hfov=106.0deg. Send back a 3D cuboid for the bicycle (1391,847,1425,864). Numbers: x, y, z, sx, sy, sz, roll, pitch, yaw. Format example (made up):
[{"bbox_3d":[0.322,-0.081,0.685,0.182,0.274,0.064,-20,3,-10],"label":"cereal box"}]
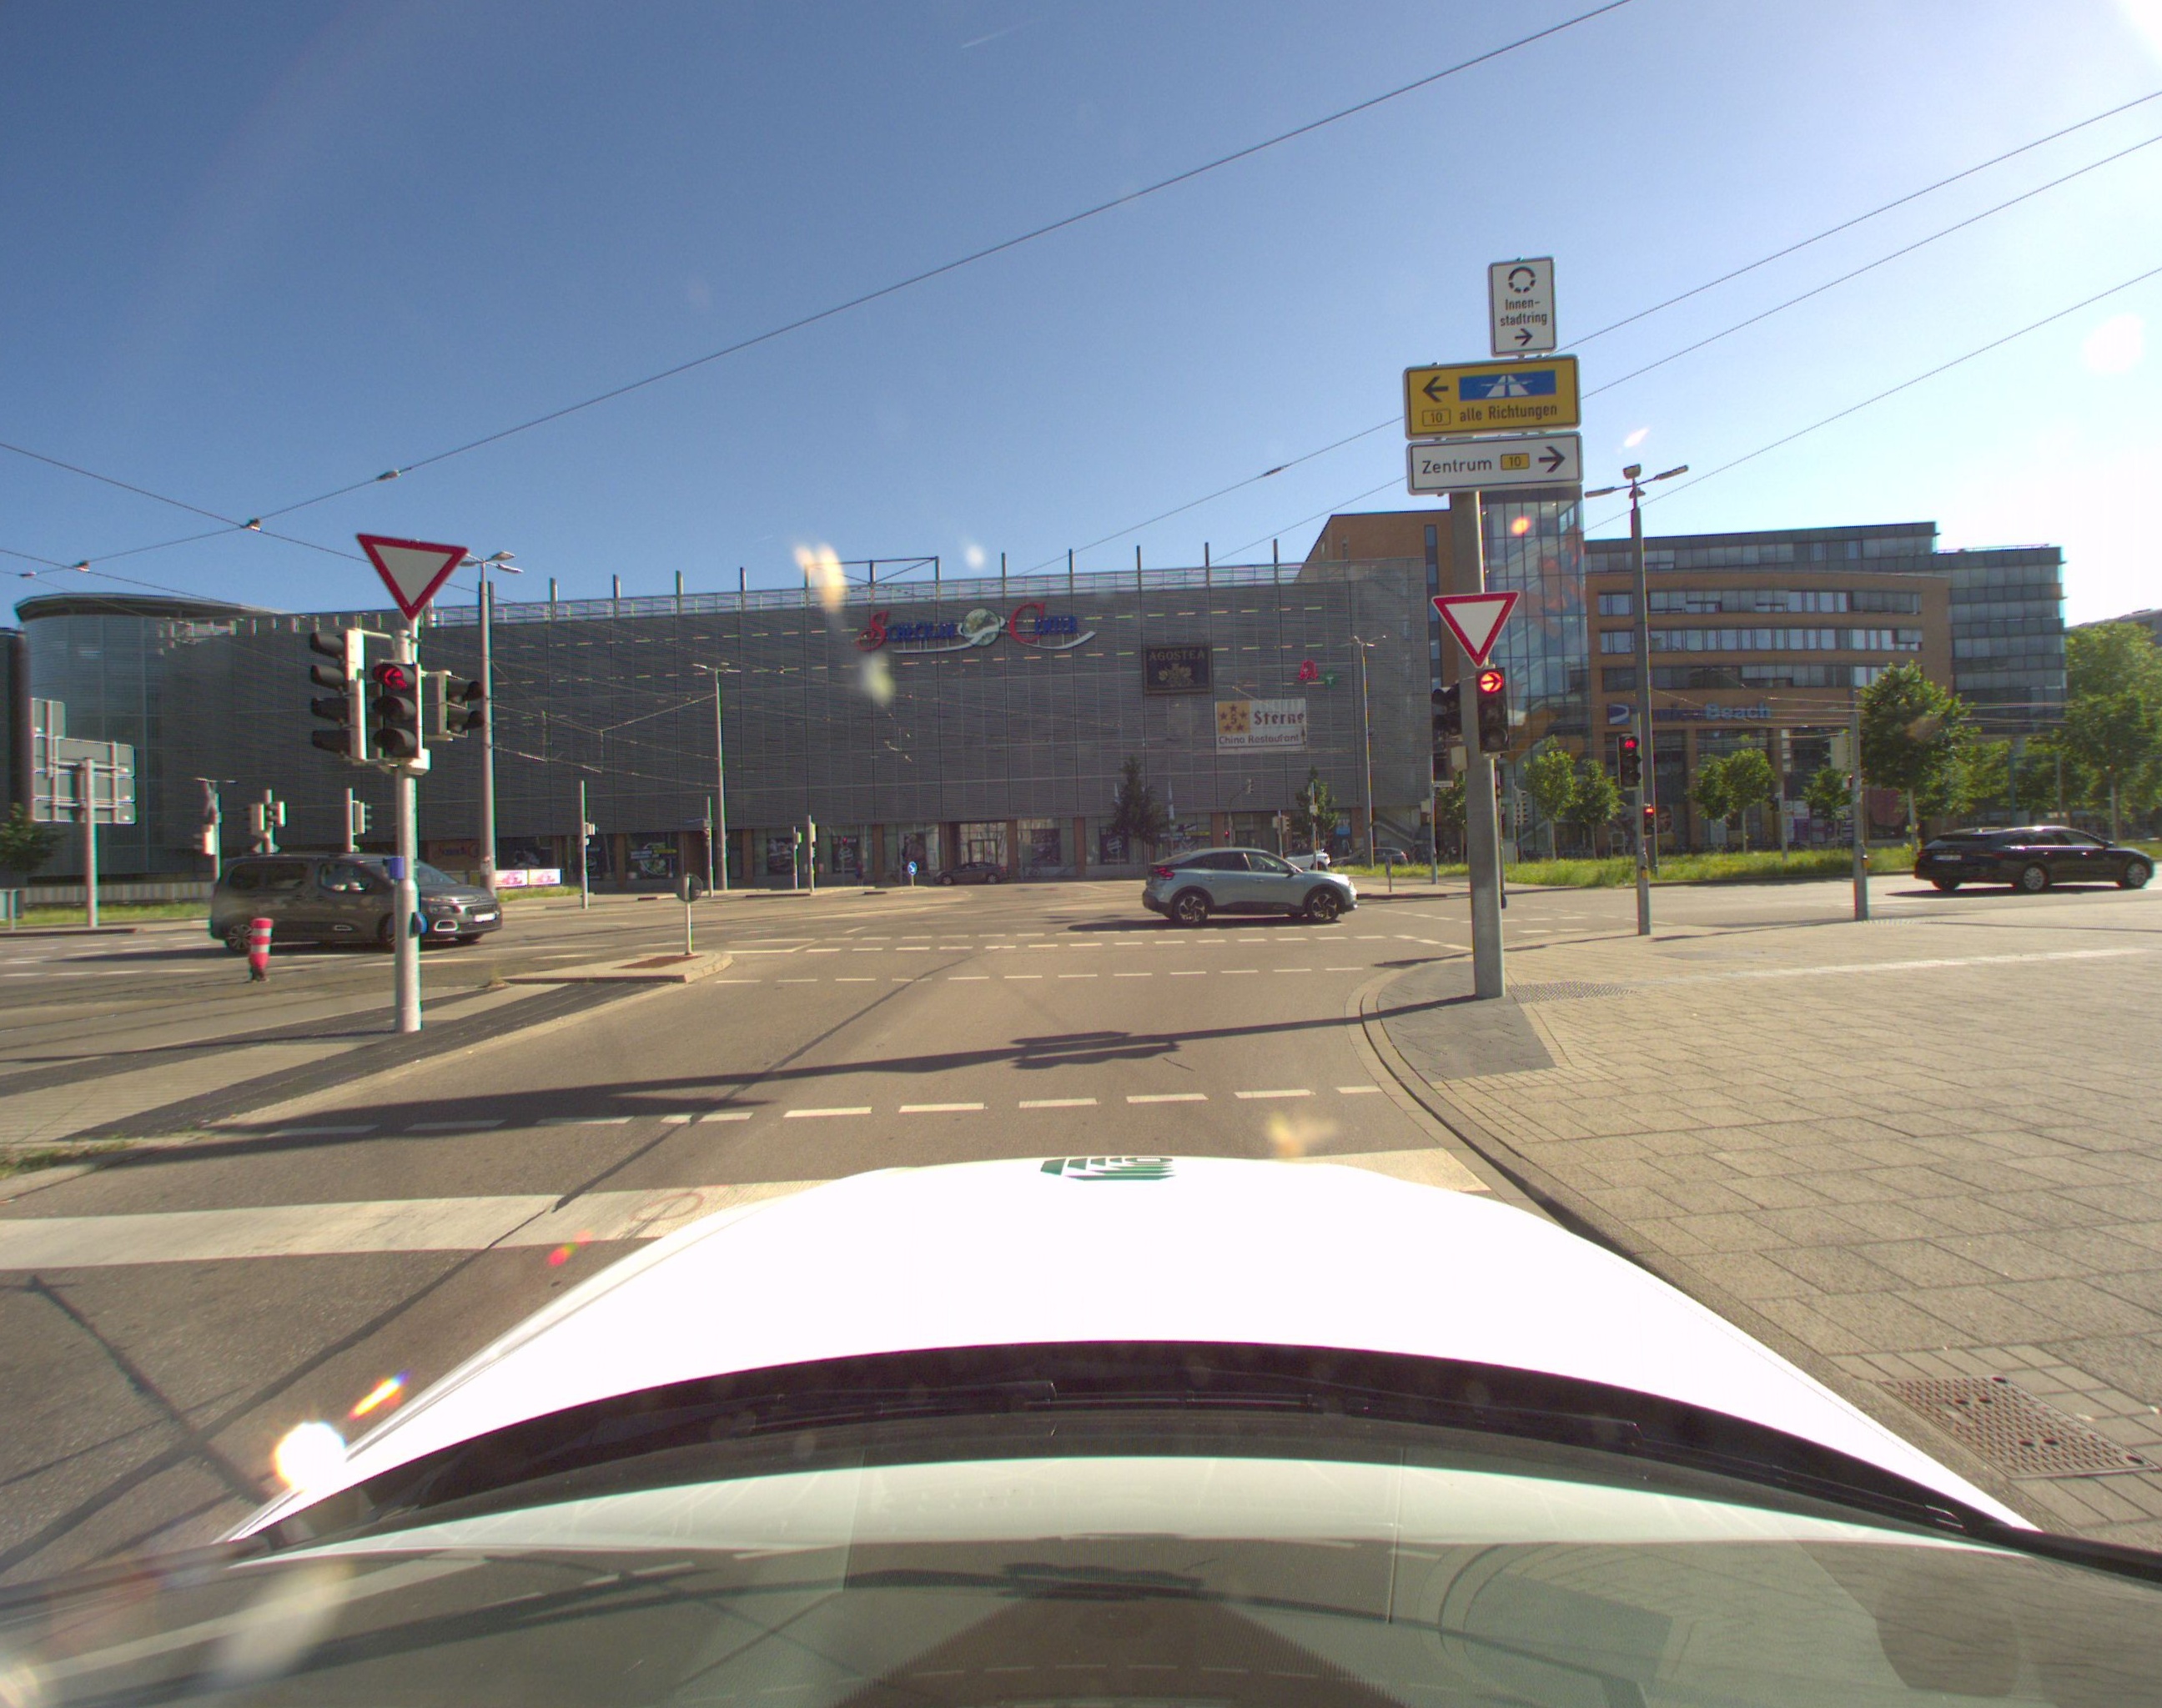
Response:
[{"bbox_3d":[24.342,0.105,60.616,2.247,1.296,0.606,0,-1,0],"label":"bicycle"}]

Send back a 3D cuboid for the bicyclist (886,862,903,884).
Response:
[{"bbox_3d":[-12.629,1.272,55.235,0.667,1.427,0.855,-1,2,45],"label":"bicyclist"}]

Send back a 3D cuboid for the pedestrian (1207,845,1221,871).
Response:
[{"bbox_3d":[9.705,0.313,59.464,0.945,1.829,0.847,-3,-4,7],"label":"pedestrian"}]

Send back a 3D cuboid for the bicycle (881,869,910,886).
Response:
[{"bbox_3d":[-12.586,1.583,55.308,0.562,1.086,1.874,-1,2,45],"label":"bicycle"}]

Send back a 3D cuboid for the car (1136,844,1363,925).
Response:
[{"bbox_3d":[3.360,0.585,16.705,4.258,1.514,1.706,-1,0,-6],"label":"car"}]

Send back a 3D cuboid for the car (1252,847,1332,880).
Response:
[{"bbox_3d":[12.601,0.585,48.781,4.311,1.863,1.841,-1,-1,1],"label":"car"}]

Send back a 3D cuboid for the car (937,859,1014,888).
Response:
[{"bbox_3d":[-6.322,1.162,49.197,4.274,1.584,1.841,2,-1,1],"label":"car"}]

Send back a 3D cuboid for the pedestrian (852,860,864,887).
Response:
[{"bbox_3d":[-15.203,1.308,55.459,0.695,1.797,0.727,-3,0,-14],"label":"pedestrian"}]

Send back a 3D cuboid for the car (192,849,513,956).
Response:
[{"bbox_3d":[-13.672,0.875,15.494,4.446,1.791,1.708,-2,0,-2],"label":"car"}]

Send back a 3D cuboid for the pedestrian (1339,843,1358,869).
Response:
[{"bbox_3d":[19.100,0.131,58.226,1.007,1.828,1.037,-3,0,5],"label":"pedestrian"}]

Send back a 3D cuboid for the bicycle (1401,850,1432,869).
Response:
[{"bbox_3d":[23.354,0.388,56.719,1.850,1.217,0.569,-2,1,1],"label":"bicycle"}]

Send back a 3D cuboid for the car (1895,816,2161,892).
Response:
[{"bbox_3d":[21.995,-0.009,18.936,4.664,1.462,1.829,-3,0,-7],"label":"car"}]

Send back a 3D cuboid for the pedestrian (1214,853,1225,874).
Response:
[{"bbox_3d":[9.404,0.626,55.199,0.650,1.414,0.853,-1,-1,12],"label":"pedestrian"}]

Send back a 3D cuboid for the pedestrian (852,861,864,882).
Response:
[{"bbox_3d":[-17.043,1.308,62.354,0.654,1.601,0.597,-1,-1,20],"label":"pedestrian"}]

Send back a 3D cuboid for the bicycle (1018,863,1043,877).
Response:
[{"bbox_3d":[-3.782,1.170,60.788,1.815,0.989,0.556,-2,1,-8],"label":"bicycle"}]

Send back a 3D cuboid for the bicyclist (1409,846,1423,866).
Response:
[{"bbox_3d":[23.326,0.138,56.716,0.750,1.386,0.566,-2,1,1],"label":"bicyclist"}]

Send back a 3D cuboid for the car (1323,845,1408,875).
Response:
[{"bbox_3d":[15.882,0.344,45.617,4.132,1.470,1.841,2,-1,0],"label":"car"}]
